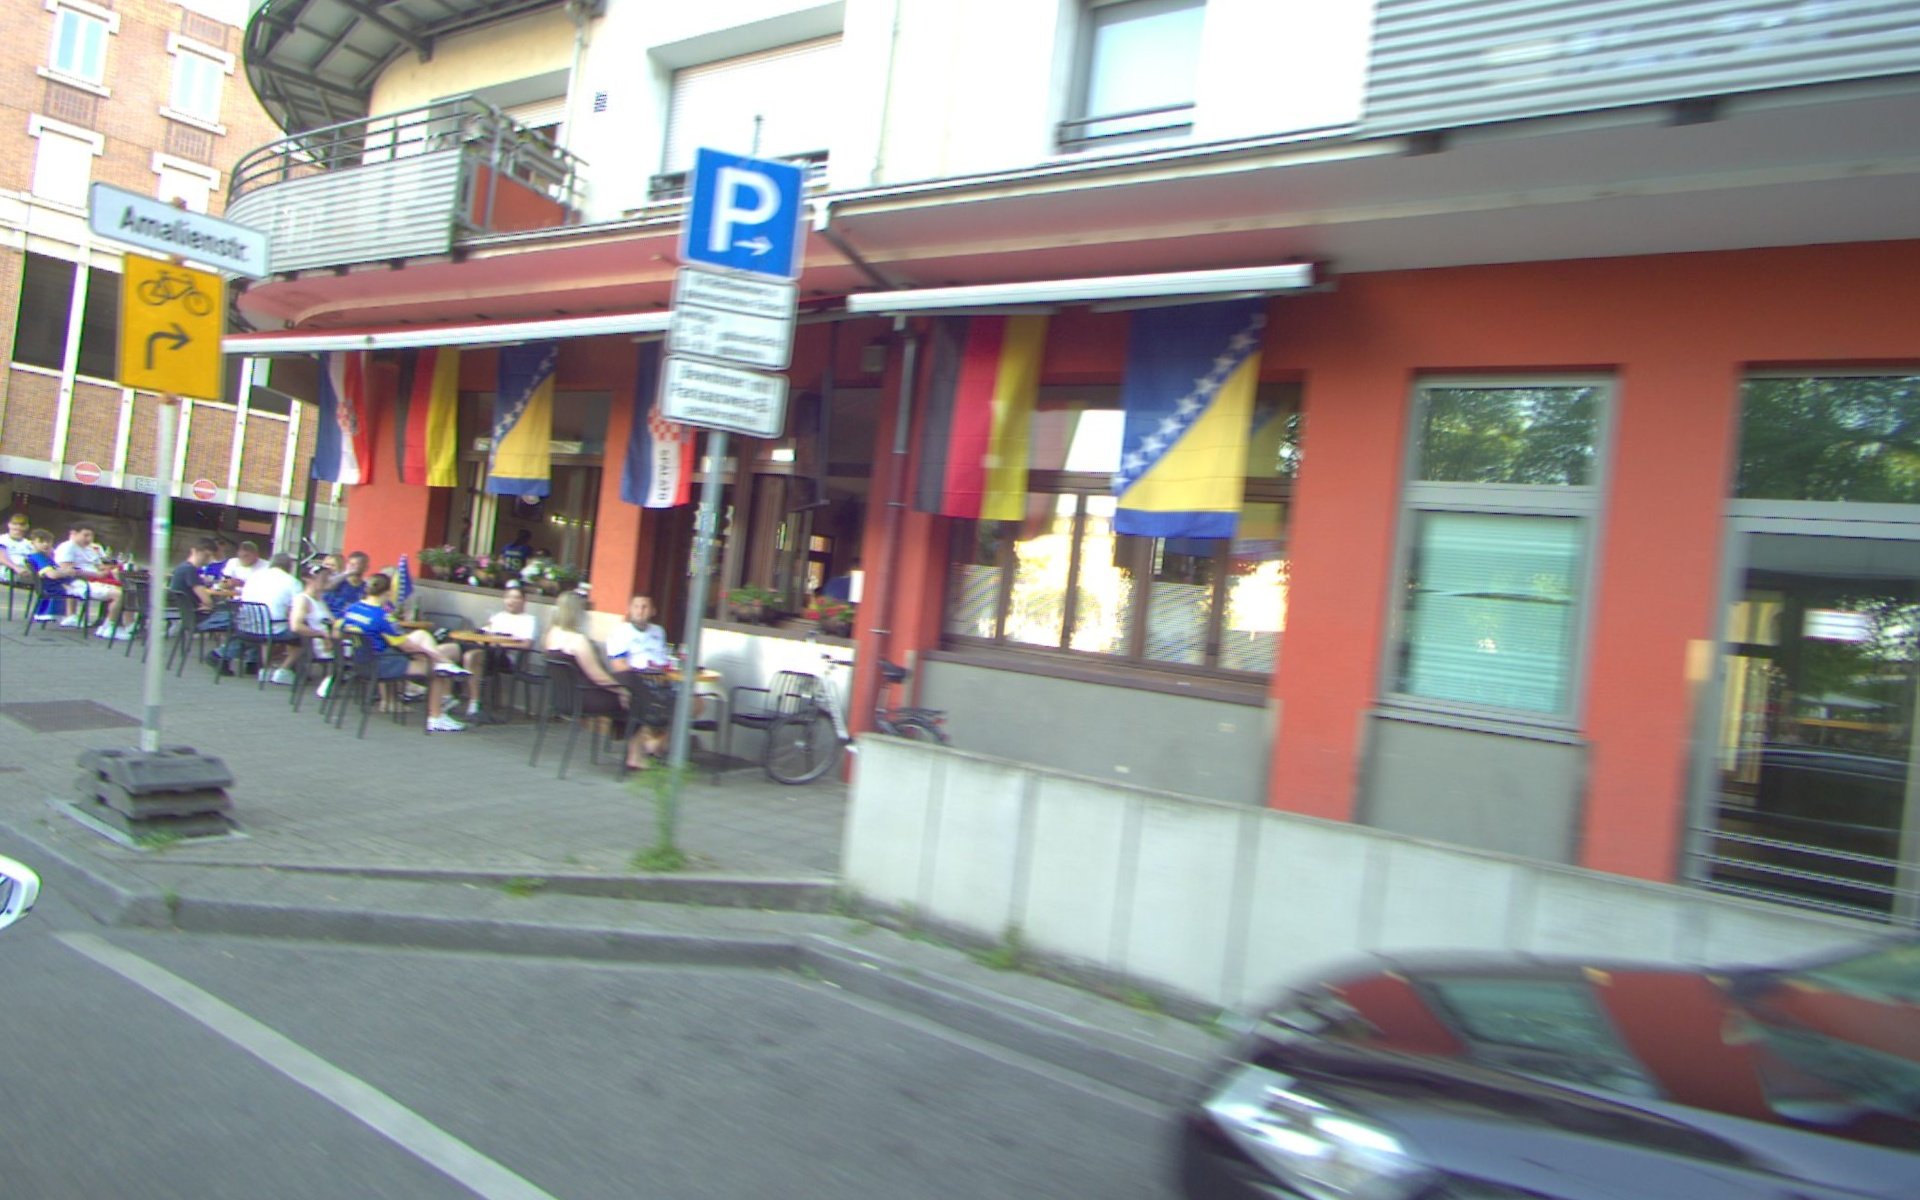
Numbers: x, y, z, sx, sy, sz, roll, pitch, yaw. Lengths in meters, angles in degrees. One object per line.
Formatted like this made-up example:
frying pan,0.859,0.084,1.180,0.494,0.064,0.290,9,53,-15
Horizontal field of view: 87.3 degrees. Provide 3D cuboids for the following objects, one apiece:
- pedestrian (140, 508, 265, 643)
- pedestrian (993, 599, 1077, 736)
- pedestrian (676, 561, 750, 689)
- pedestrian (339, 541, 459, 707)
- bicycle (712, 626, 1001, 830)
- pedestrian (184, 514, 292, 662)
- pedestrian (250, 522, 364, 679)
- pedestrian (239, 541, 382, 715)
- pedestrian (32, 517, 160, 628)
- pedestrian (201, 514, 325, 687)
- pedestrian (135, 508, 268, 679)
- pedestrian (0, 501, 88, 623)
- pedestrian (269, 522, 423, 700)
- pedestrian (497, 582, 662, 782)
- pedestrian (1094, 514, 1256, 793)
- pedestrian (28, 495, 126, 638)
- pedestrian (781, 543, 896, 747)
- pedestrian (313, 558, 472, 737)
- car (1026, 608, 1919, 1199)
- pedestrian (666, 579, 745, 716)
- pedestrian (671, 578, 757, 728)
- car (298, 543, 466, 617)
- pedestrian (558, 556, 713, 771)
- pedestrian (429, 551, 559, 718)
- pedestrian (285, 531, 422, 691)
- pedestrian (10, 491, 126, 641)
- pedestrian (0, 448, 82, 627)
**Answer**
pedestrian,-9.587,-0.290,12.773,0.838,1.553,0.714,8,-2,-5
pedestrian,1.060,0.952,14.237,0.750,1.814,0.648,6,-1,40
pedestrian,-3.647,0.378,14.891,0.607,1.797,0.612,7,-1,27
pedestrian,-5.226,0.226,9.384,0.551,1.452,0.667,7,1,27
bicycle,-0.772,0.867,7.189,1.971,1.099,0.550,7,-2,29
pedestrian,-8.252,-0.132,11.532,0.744,1.553,0.644,9,-2,-28
pedestrian,-6.901,0.011,10.642,0.643,1.556,0.674,7,2,27
pedestrian,-5.555,0.231,8.611,0.736,1.362,0.654,7,2,27
pedestrian,-11.114,-0.339,12.968,0.949,1.297,0.686,5,-1,4
pedestrian,-6.689,0.004,9.659,0.688,1.548,0.649,7,3,25
pedestrian,-7.432,-0.068,9.869,0.746,1.556,0.713,7,3,25
pedestrian,-11.422,-0.461,12.231,0.823,1.399,0.771,6,0,4
pedestrian,-5.836,0.127,9.598,0.667,1.553,0.853,7,-2,26
pedestrian,-2.702,0.568,7.232,0.701,1.293,0.854,4,-1,7
pedestrian,1.684,0.407,7.884,0.803,2.037,0.667,6,-1,40
pedestrian,-10.357,-0.385,11.798,0.710,1.554,0.681,7,-1,-44
pedestrian,-1.111,0.417,9.245,0.607,1.759,0.612,7,-1,28
pedestrian,-4.584,0.383,8.125,0.872,1.322,0.843,6,0,-41
car,2.576,1.115,1.571,4.554,1.569,1.878,6,-3,32
pedestrian,-3.520,0.660,13.924,0.606,1.797,0.612,7,-1,21
pedestrian,-3.124,0.673,12.806,0.606,1.797,0.612,7,-1,21
car,-16.956,-0.578,29.563,3.968,1.537,1.980,9,-2,-37
pedestrian,-2.581,0.506,8.100,0.701,1.553,0.854,7,-2,7
pedestrian,-4.324,0.337,9.361,0.592,1.437,0.714,7,-2,28
pedestrian,-6.259,0.129,10.404,0.769,1.522,0.769,7,-1,27
pedestrian,-9.895,-0.371,11.161,0.839,1.557,0.712,7,3,31
pedestrian,-11.434,-0.758,12.220,0.844,2.037,0.907,6,-1,43
